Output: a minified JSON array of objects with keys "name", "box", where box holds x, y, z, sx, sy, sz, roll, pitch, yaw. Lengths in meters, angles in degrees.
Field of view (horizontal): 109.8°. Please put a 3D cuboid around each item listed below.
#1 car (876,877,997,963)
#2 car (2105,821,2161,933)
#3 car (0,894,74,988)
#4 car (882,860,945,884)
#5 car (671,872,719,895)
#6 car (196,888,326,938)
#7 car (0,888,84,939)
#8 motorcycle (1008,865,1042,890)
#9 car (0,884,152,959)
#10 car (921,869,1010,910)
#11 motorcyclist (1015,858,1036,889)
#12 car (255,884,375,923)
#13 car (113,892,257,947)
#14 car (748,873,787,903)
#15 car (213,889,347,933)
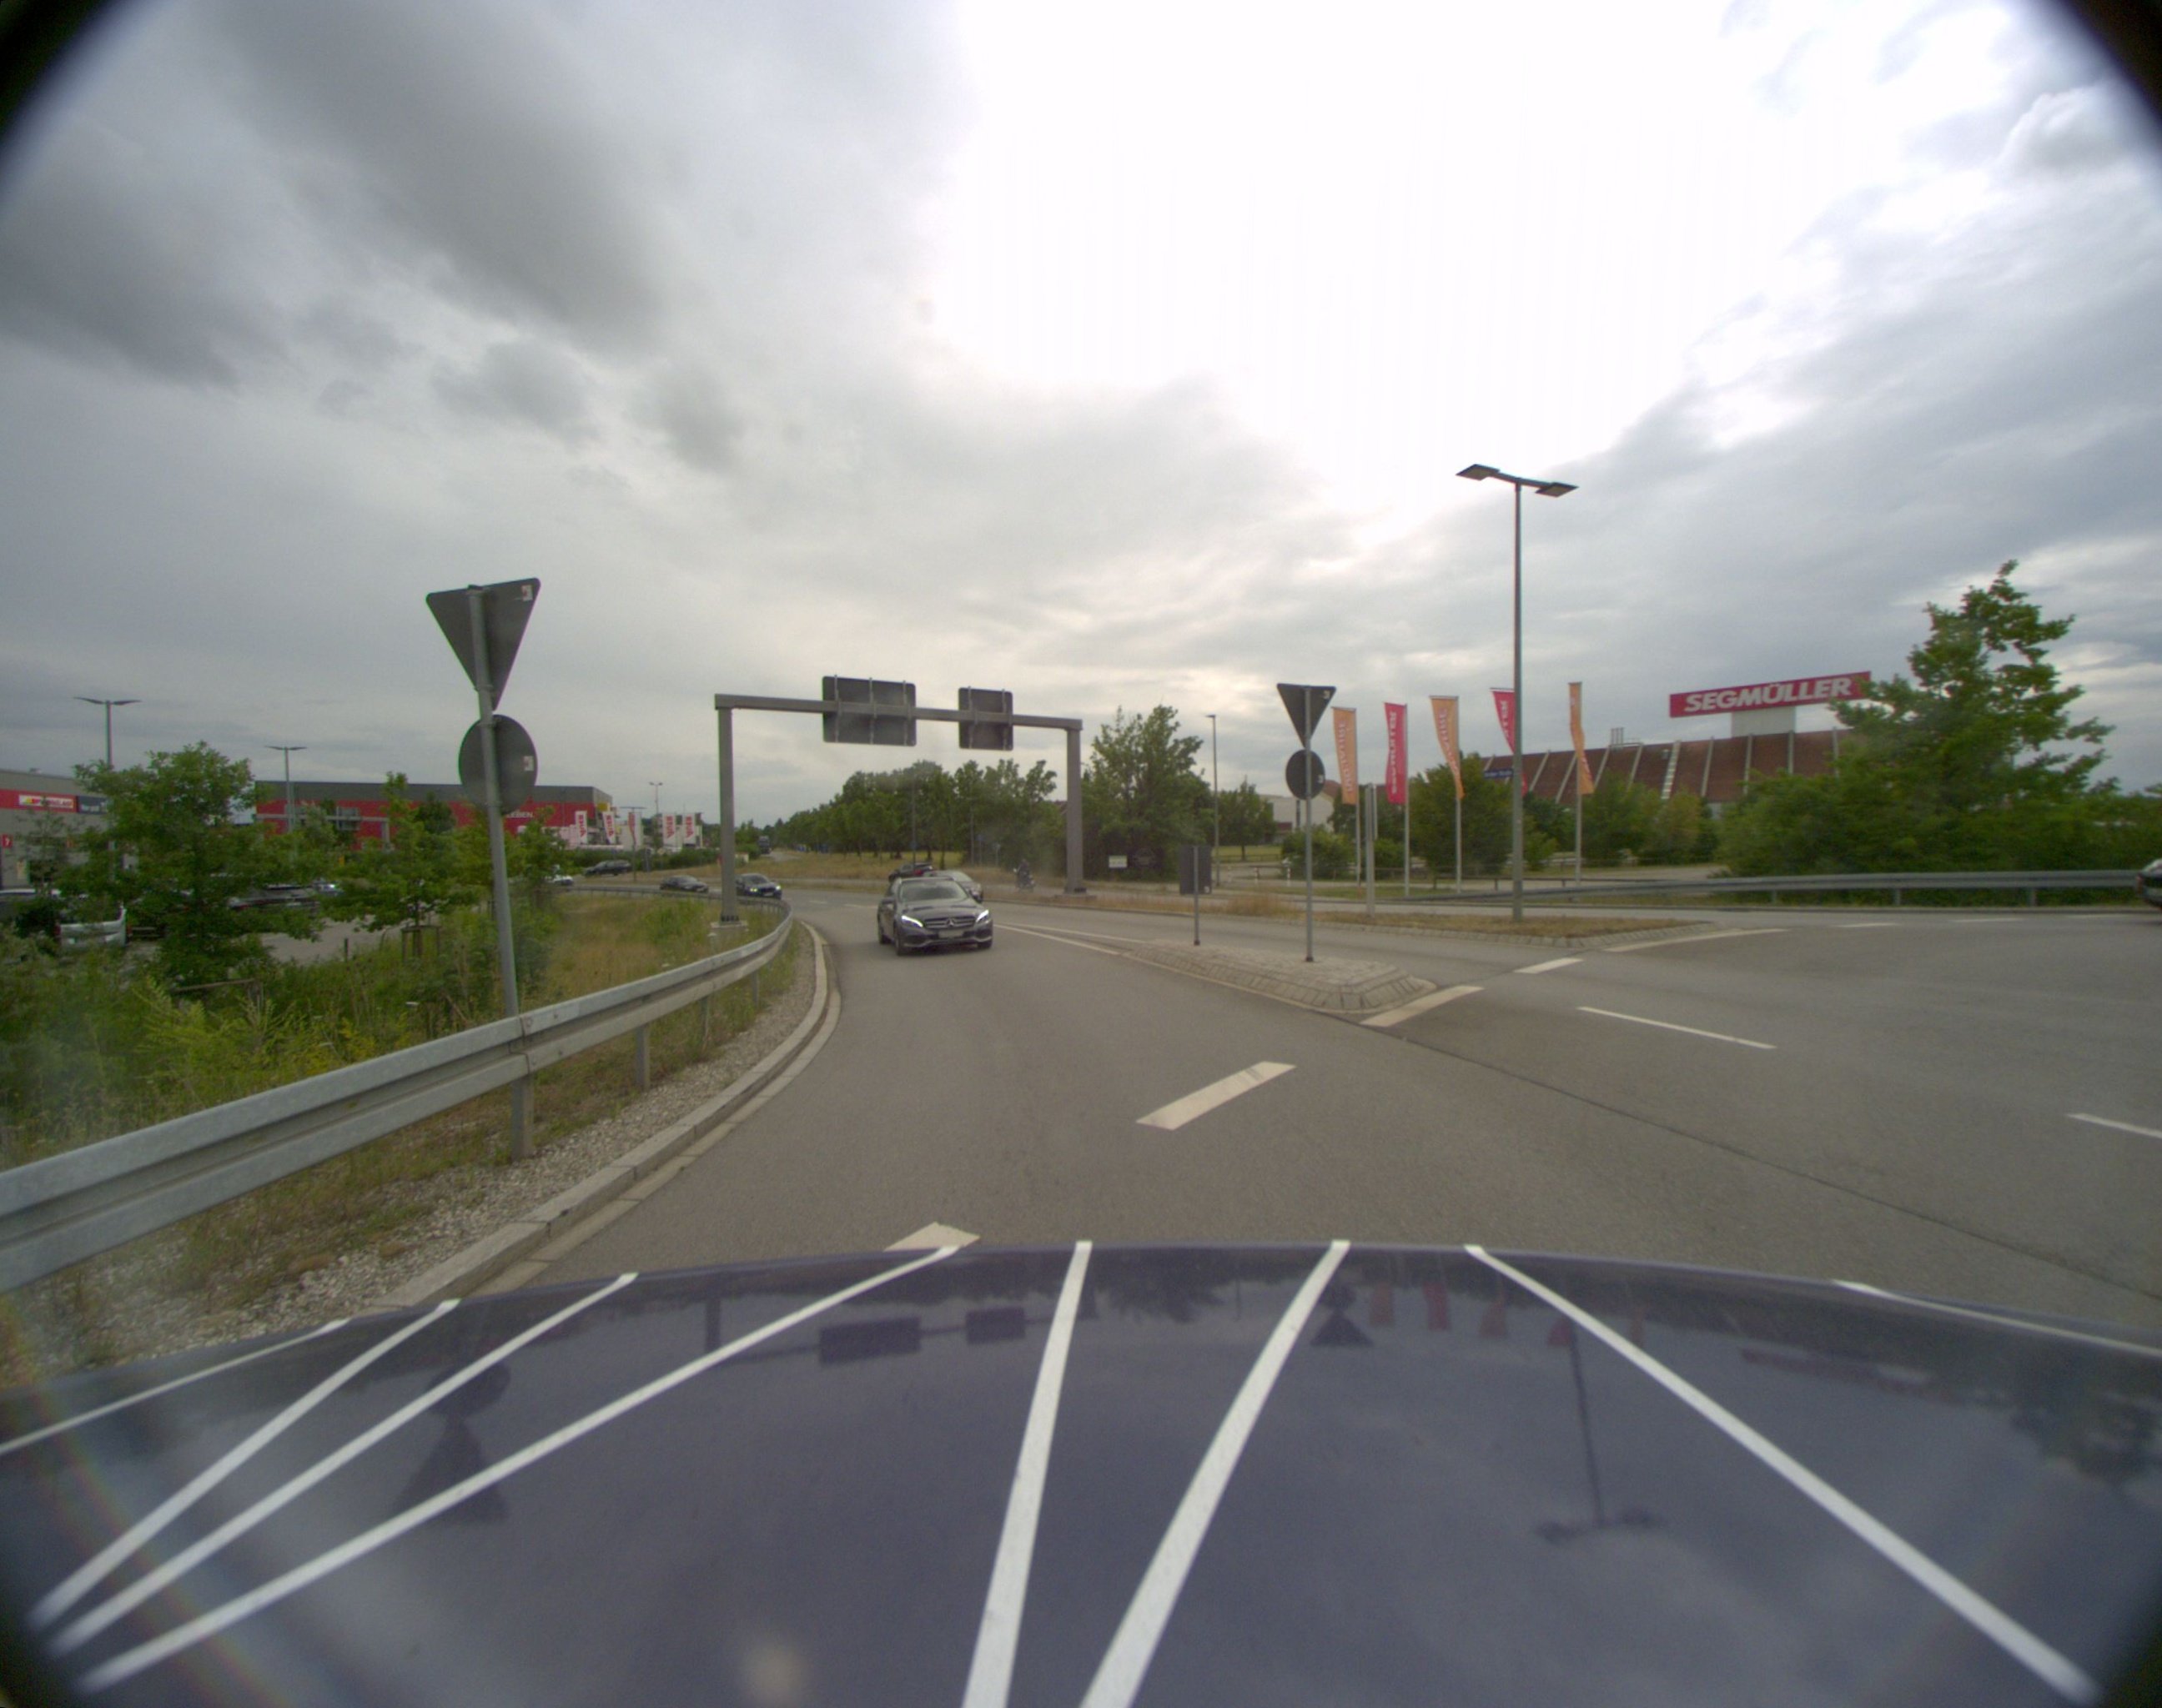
[{"name":"car","box":[-3.105,1.246,15.671,1.767,1.411,4.085,-3,-1,-20]},{"name":"car","box":[19.873,0.260,11.352,5.039,1.780,2.108,-3,1,24]},{"name":"car","box":[-24.979,1.905,16.888,4.068,1.897,1.908,0,1,19]},{"name":"car","box":[-11.264,1.206,50.995,4.269,1.458,1.896,-1,2,41]},{"name":"car","box":[-27.365,2.075,53.775,1.864,1.404,3.927,-4,3,-44]},{"name":"car","box":[-30.322,2.162,28.113,4.069,1.612,1.739,-3,-1,19]},{"name":"car","box":[-36.391,2.040,25.145,3.705,1.536,1.587,-3,2,-31]},{"name":"motorcycle","box":[-2.892,1.202,39.008,0.704,1.222,2.244,-2,-1,-32]},{"name":"car","box":[-26.820,1.728,19.827,4.068,1.701,1.908,-2,1,19]},{"name":"car","box":[-4.586,1.321,29.804,1.768,1.310,3.948,-5,3,-36]},{"name":"motorcyclist","box":[-2.853,0.998,38.958,0.676,1.566,0.845,-2,0,-32]},{"name":"car","box":[-34.252,2.180,34.001,4.071,1.612,1.738,0,0,10]},{"name":"car","box":[-29.598,2.167,25.107,4.069,1.612,1.653,-3,0,19]},{"name":"car","box":[-18.552,1.983,44.849,1.863,1.404,4.547,-3,2,-25]},{"name":"car","box":[-32.885,2.310,31.234,4.071,1.612,1.831,0,0,10]}]
